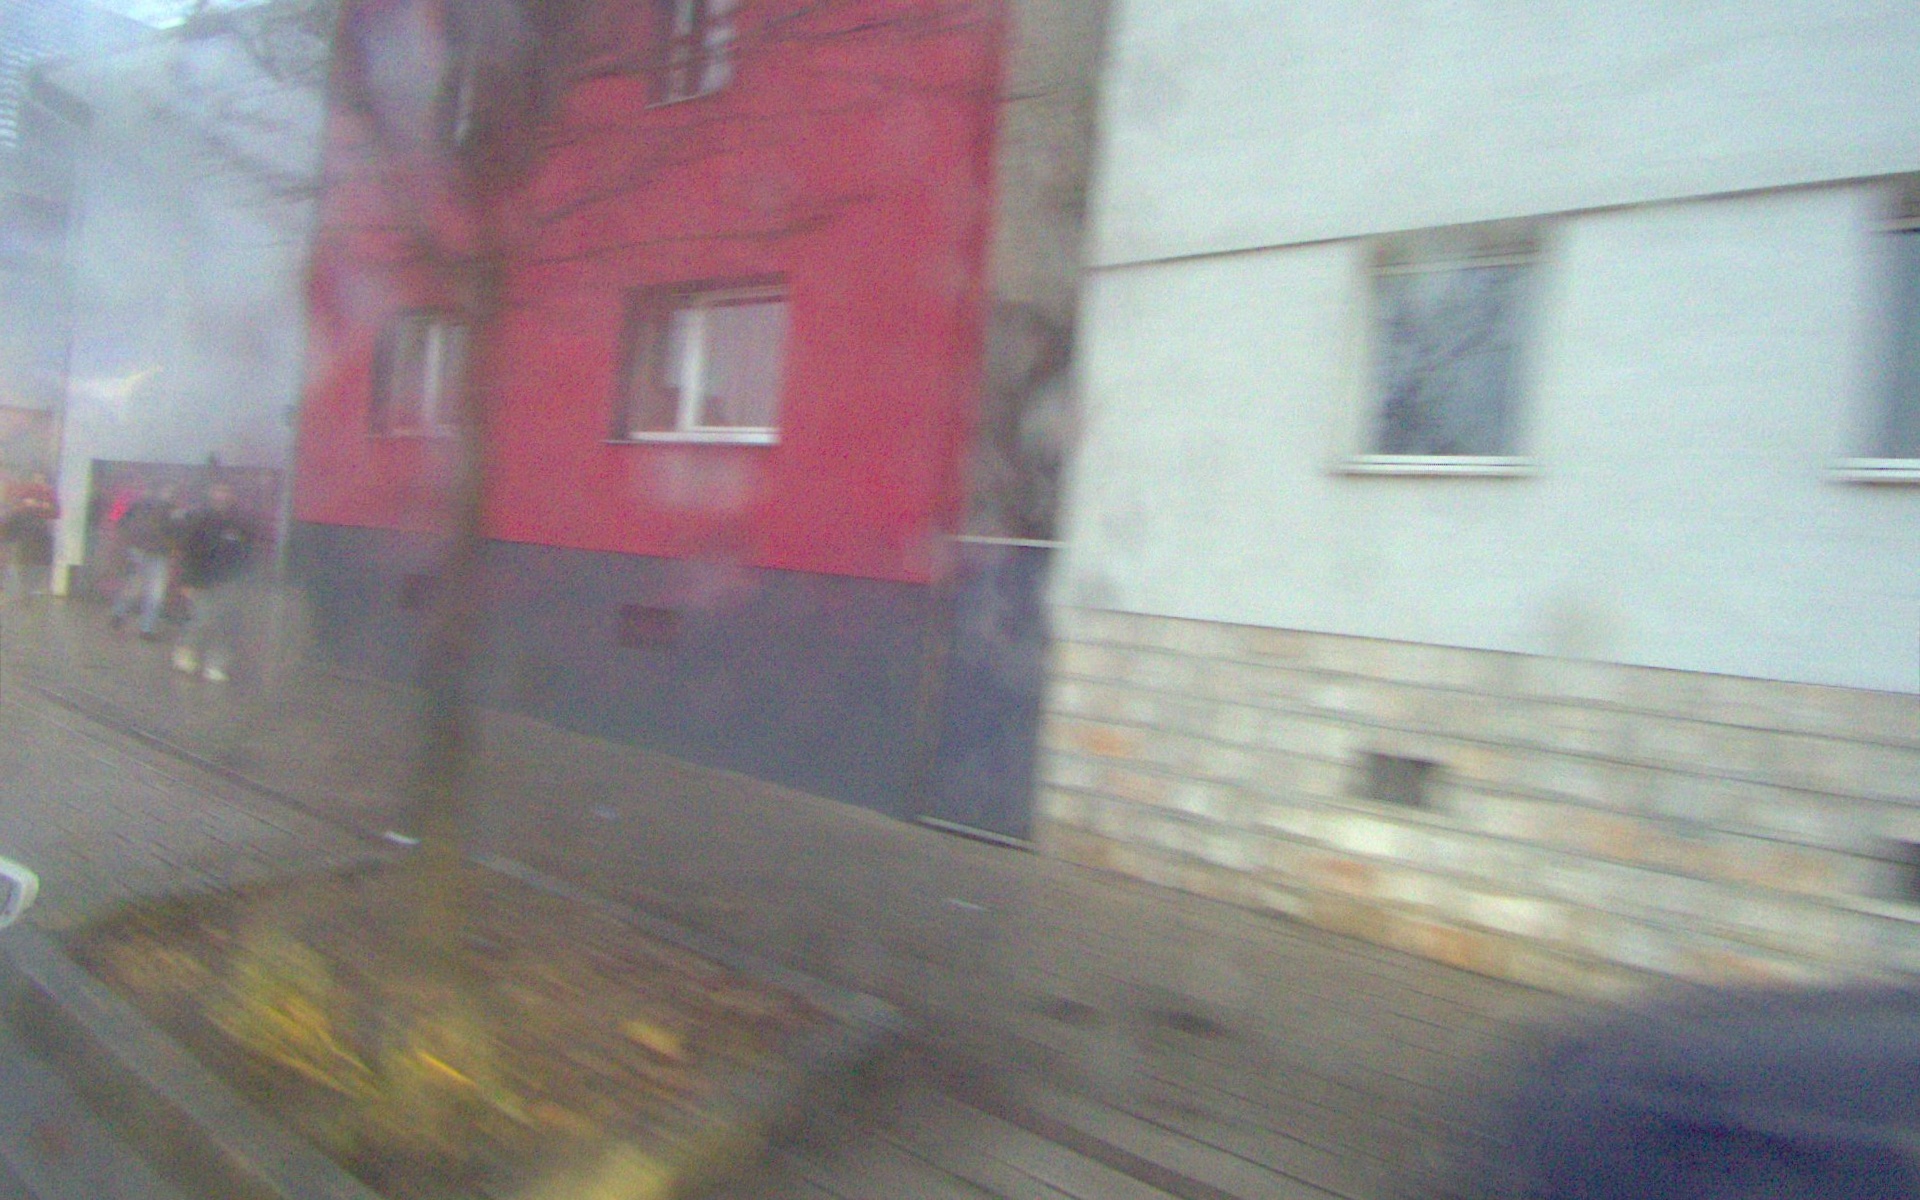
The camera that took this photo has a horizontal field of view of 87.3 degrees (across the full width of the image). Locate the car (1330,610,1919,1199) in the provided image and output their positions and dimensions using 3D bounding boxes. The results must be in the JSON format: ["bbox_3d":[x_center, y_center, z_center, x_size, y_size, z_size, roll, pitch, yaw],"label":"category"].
[{"bbox_3d":[2.616,0.991,0.792,4.131,1.484,1.727,7,3,34],"label":"car"}]

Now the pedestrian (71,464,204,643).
[{"bbox_3d":[-8.432,-0.476,10.312,1.036,1.701,0.746,8,2,38],"label":"pedestrian"}]

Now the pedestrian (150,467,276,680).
[{"bbox_3d":[-6.297,-0.217,8.472,0.941,1.672,0.528,4,-2,41],"label":"pedestrian"}]

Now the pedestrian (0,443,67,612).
[{"bbox_3d":[-10.787,-0.831,11.561,0.852,1.822,0.528,7,0,41],"label":"pedestrian"}]
